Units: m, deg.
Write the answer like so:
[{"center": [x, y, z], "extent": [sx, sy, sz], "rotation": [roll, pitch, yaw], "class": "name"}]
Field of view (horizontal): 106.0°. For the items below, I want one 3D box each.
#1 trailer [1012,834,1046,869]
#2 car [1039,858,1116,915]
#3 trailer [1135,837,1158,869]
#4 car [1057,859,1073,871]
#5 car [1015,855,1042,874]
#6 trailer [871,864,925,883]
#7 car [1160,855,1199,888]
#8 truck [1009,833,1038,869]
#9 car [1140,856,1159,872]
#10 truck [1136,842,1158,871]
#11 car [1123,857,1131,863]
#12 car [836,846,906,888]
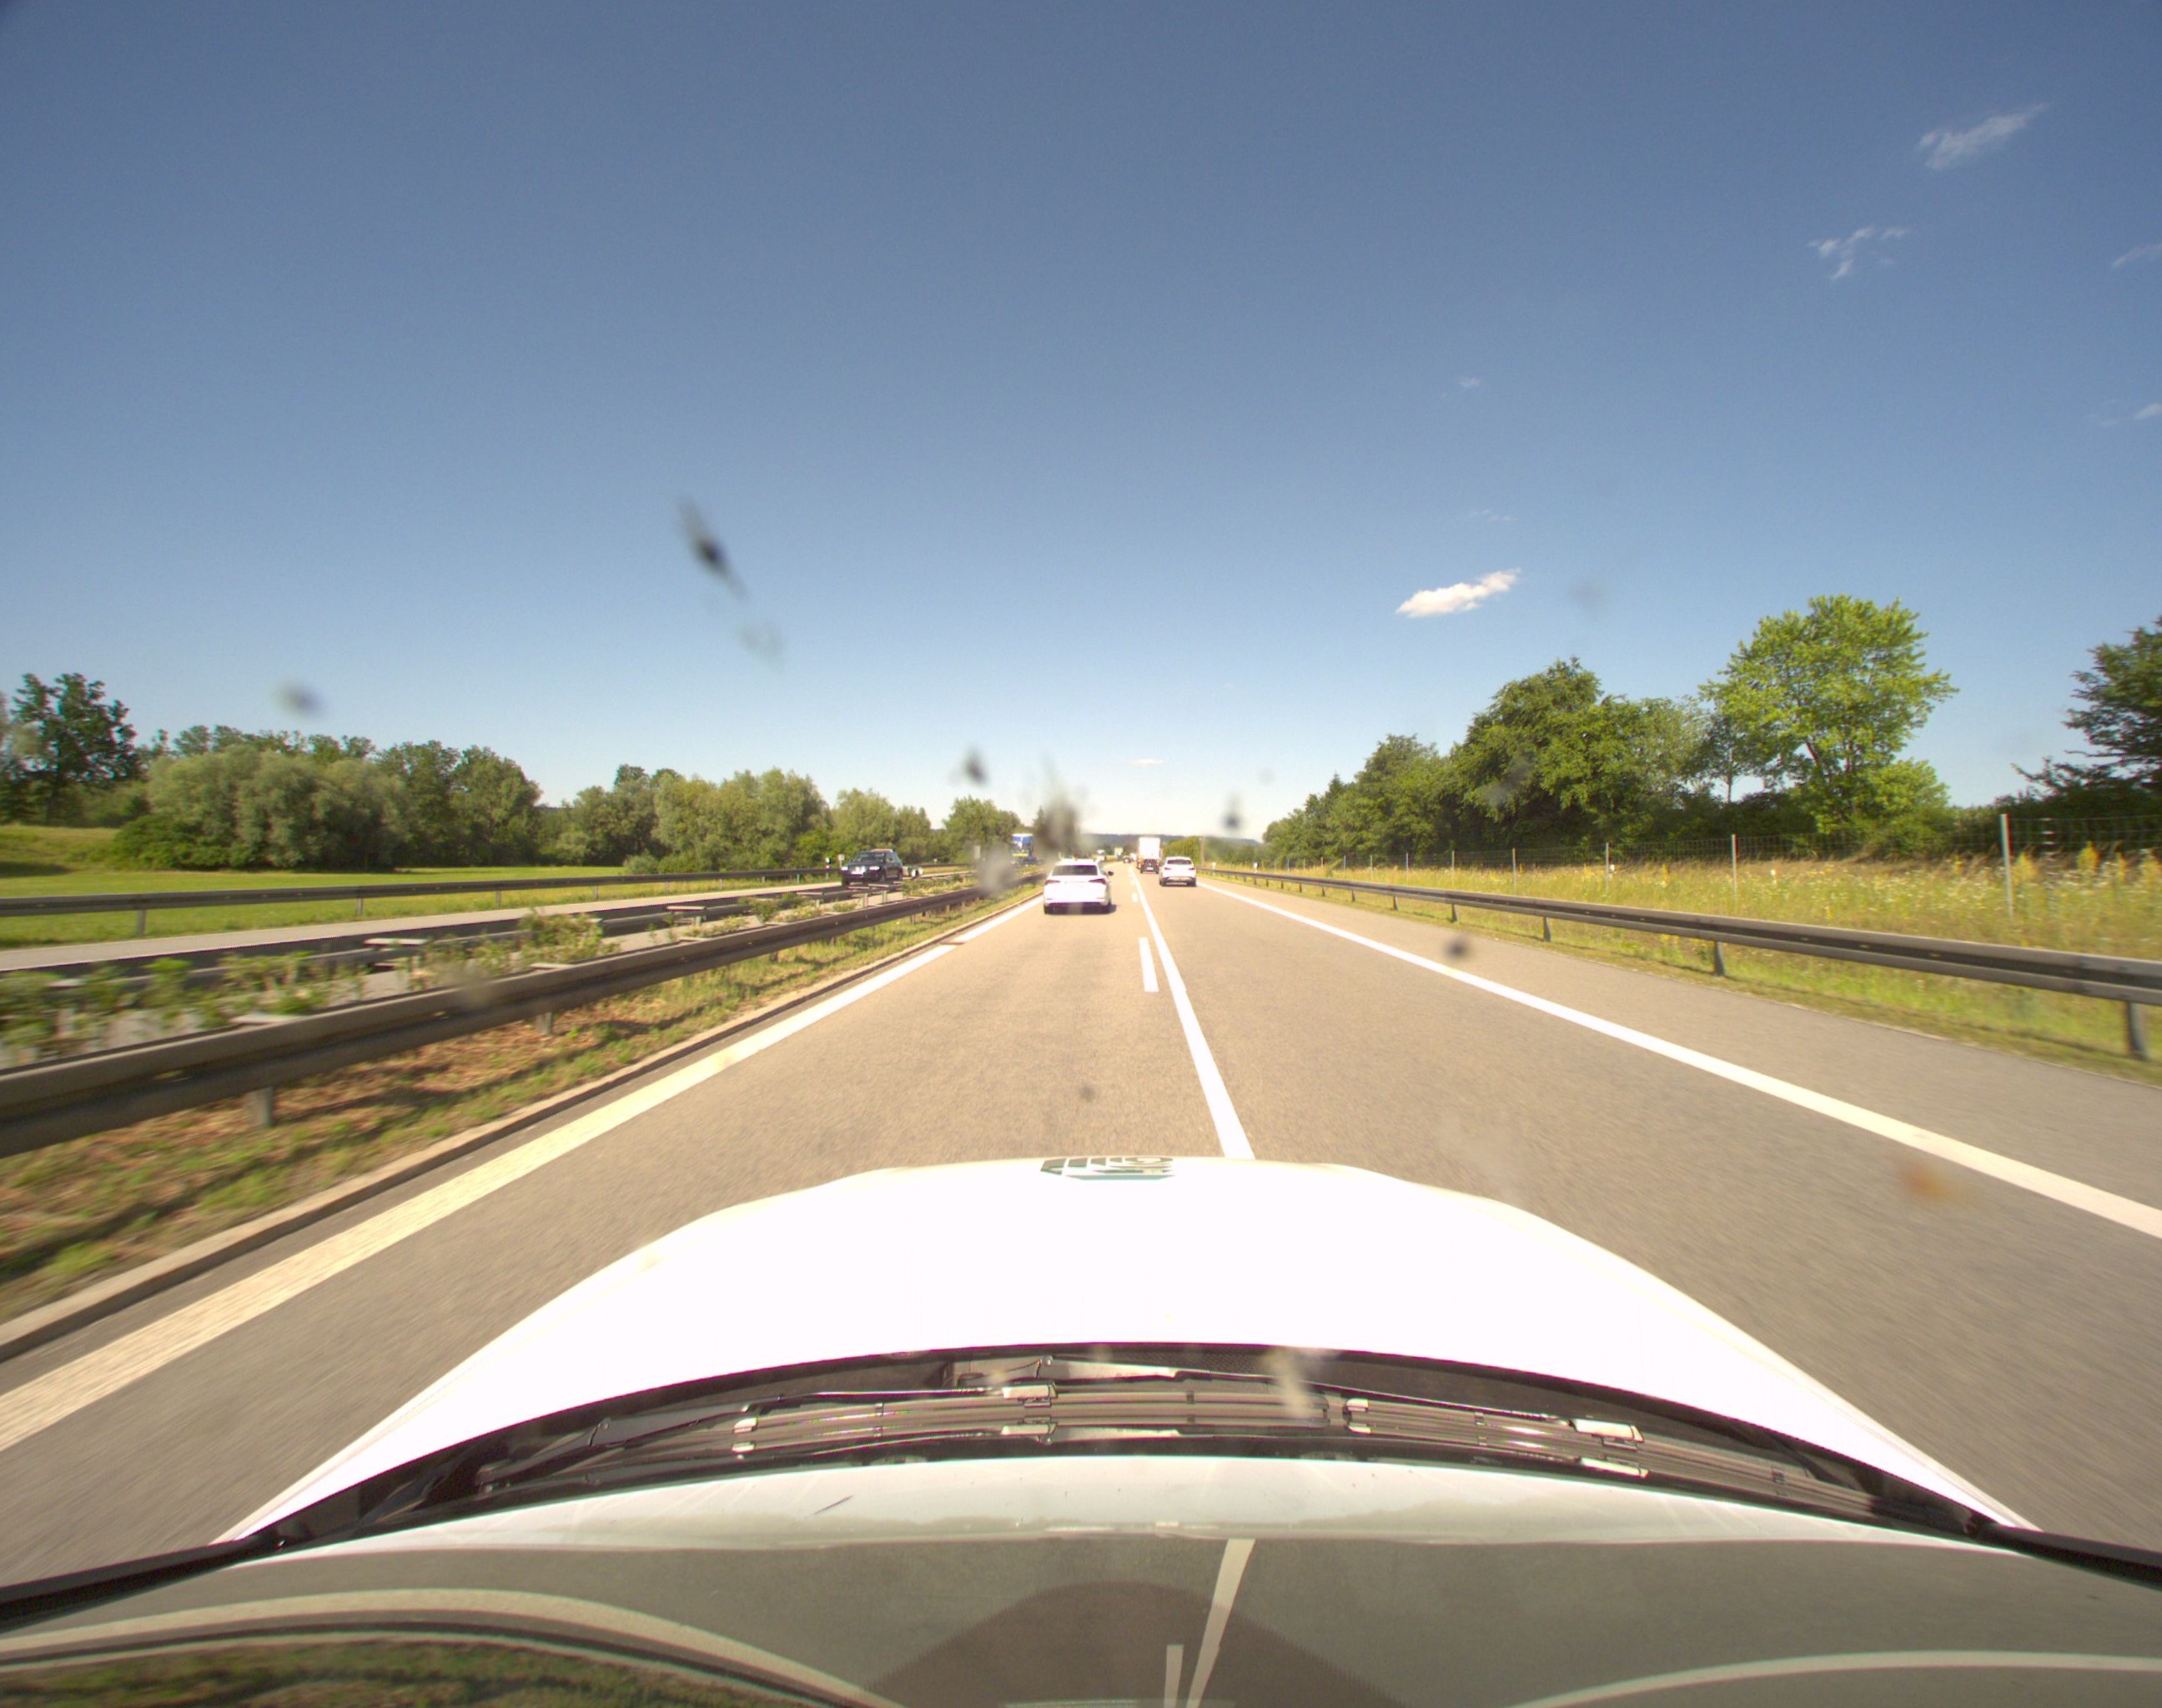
[{"center": [-6.650, -0.274, 106.069], "extent": [2.776, 4.160, 14.403], "rotation": [0, 0, 3], "class": "trailer"}, {"center": [0.013, 0.846, 23.277], "extent": [1.832, 1.421, 5.259], "rotation": [0, 0, 4], "class": "car"}, {"center": [8.551, -0.098, 106.355], "extent": [2.806, 3.966, 14.176], "rotation": [0, 0, 4], "class": "trailer"}, {"center": [-2.276, 1.586, 116.724], "extent": [1.985, 1.665, 4.636], "rotation": [-1, 0, 2], "class": "car"}, {"center": [-4.437, 0.870, 69.315], "extent": [1.674, 1.459, 4.928], "rotation": [-2, 0, 2], "class": "car"}, {"center": [-9.637, 1.016, 43.154], "extent": [1.735, 0.936, 4.023], "rotation": [0, 0, 3], "class": "trailer"}, {"center": [5.184, 0.888, 43.288], "extent": [1.677, 1.496, 4.992], "rotation": [3, 1, 3], "class": "car"}, {"center": [-6.961, -0.366, 99.314], "extent": [2.729, 4.303, 6.338], "rotation": [0, 0, 2], "class": "truck"}, {"center": [6.459, 0.921, 77.369], "extent": [1.658, 1.454, 4.548], "rotation": [2, 0, 4], "class": "car"}, {"center": [9.113, 0.323, 113.105], "extent": [2.828, 3.966, 7.051], "rotation": [0, 0, 4], "class": "truck"}, {"center": [11.420, 1.526, 202.268], "extent": [1.764, 1.421, 4.499], "rotation": [2, 0, 3], "class": "car"}, {"center": [-9.875, 0.621, 38.682], "extent": [1.842, 1.804, 4.873], "rotation": [-1, -1, 2], "class": "car"}]
